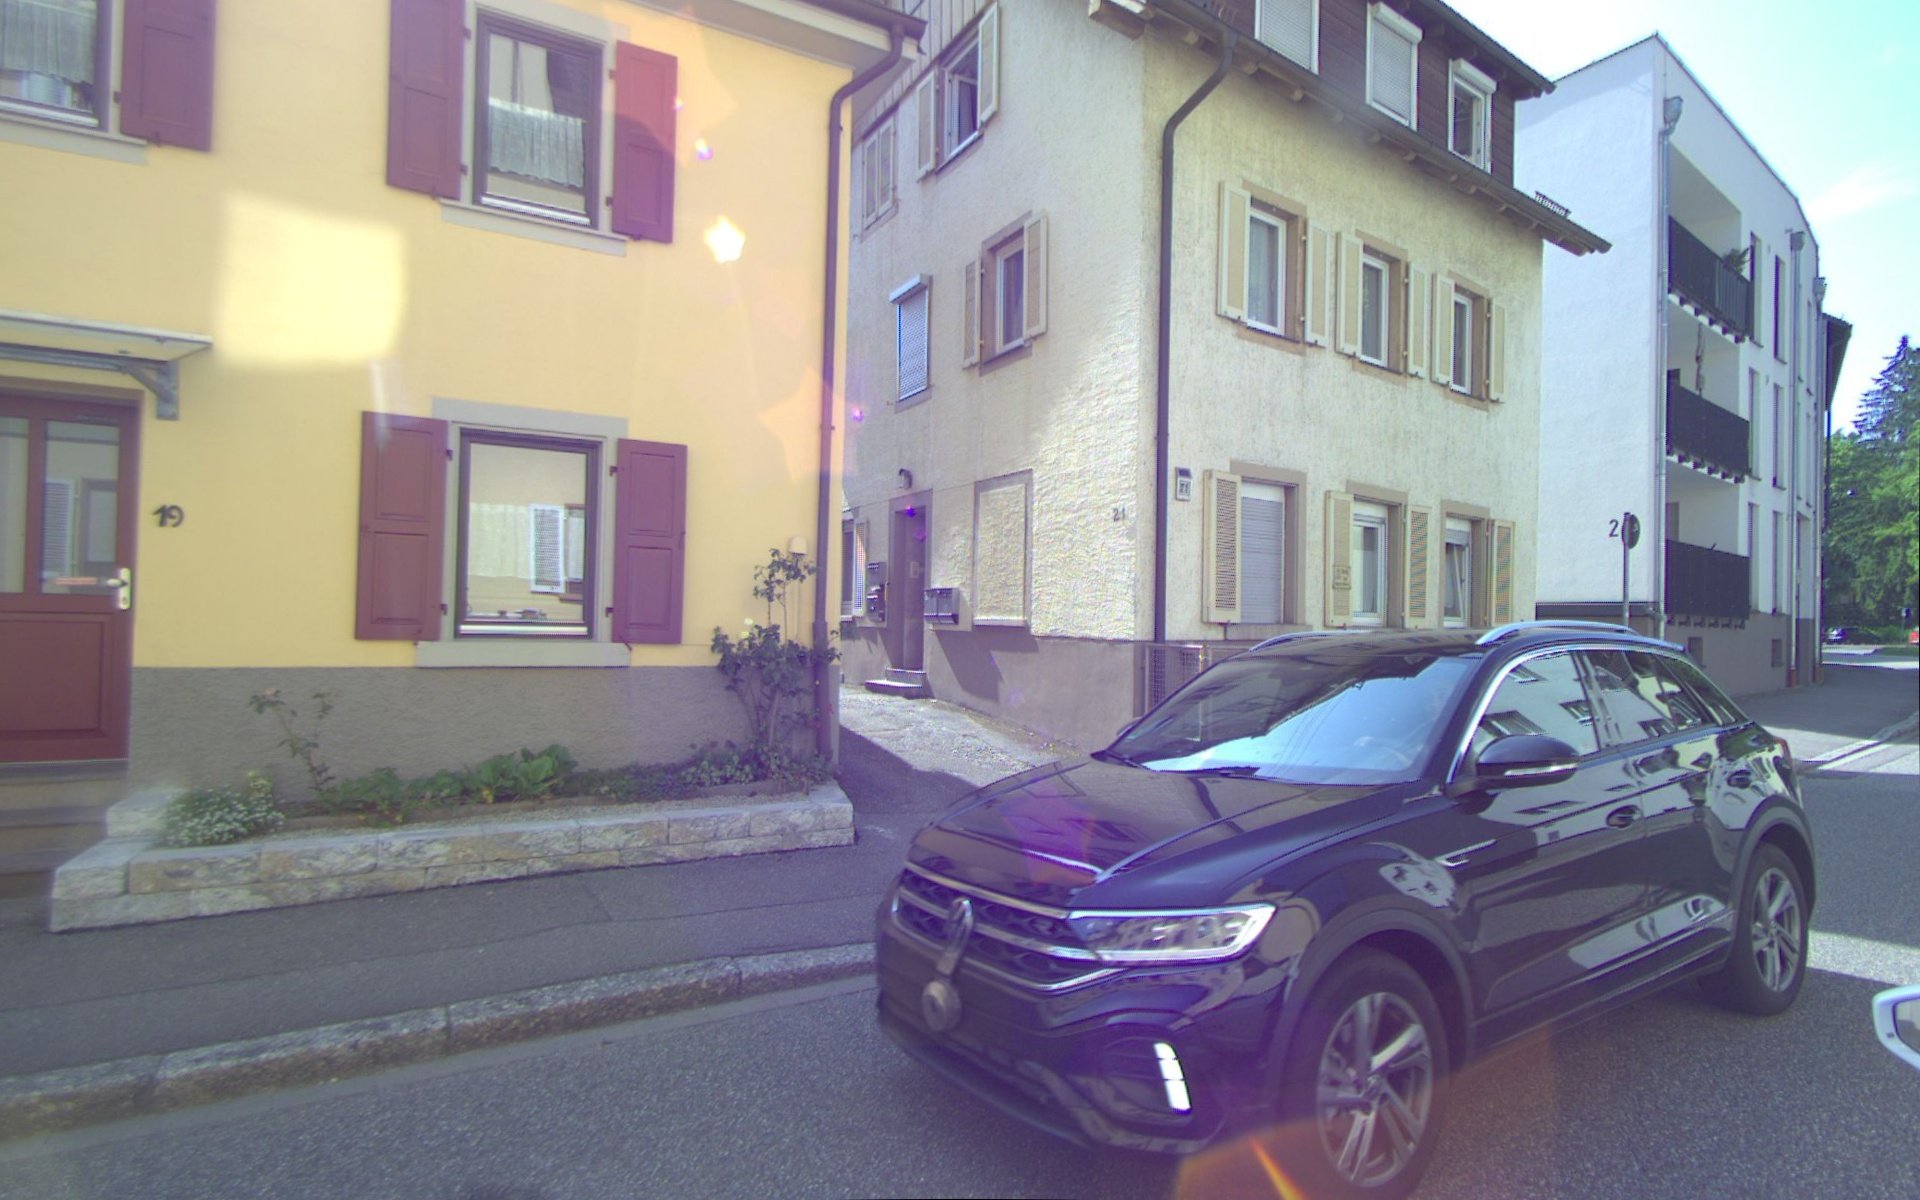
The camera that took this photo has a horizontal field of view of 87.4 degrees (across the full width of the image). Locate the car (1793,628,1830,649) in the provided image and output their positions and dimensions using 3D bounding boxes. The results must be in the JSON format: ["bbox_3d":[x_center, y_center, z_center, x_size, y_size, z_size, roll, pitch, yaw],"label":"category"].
[{"bbox_3d":[66.490,2.969,78.478,1.611,1.549,3.479,0,-1,31],"label":"car"}]

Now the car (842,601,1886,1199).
[{"bbox_3d":[1.718,0.858,3.969,3.955,1.557,1.815,1,-4,-32],"label":"car"}]

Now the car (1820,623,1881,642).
[{"bbox_3d":[75.319,2.765,84.994,1.922,1.549,3.420,1,-1,-10],"label":"car"}]
